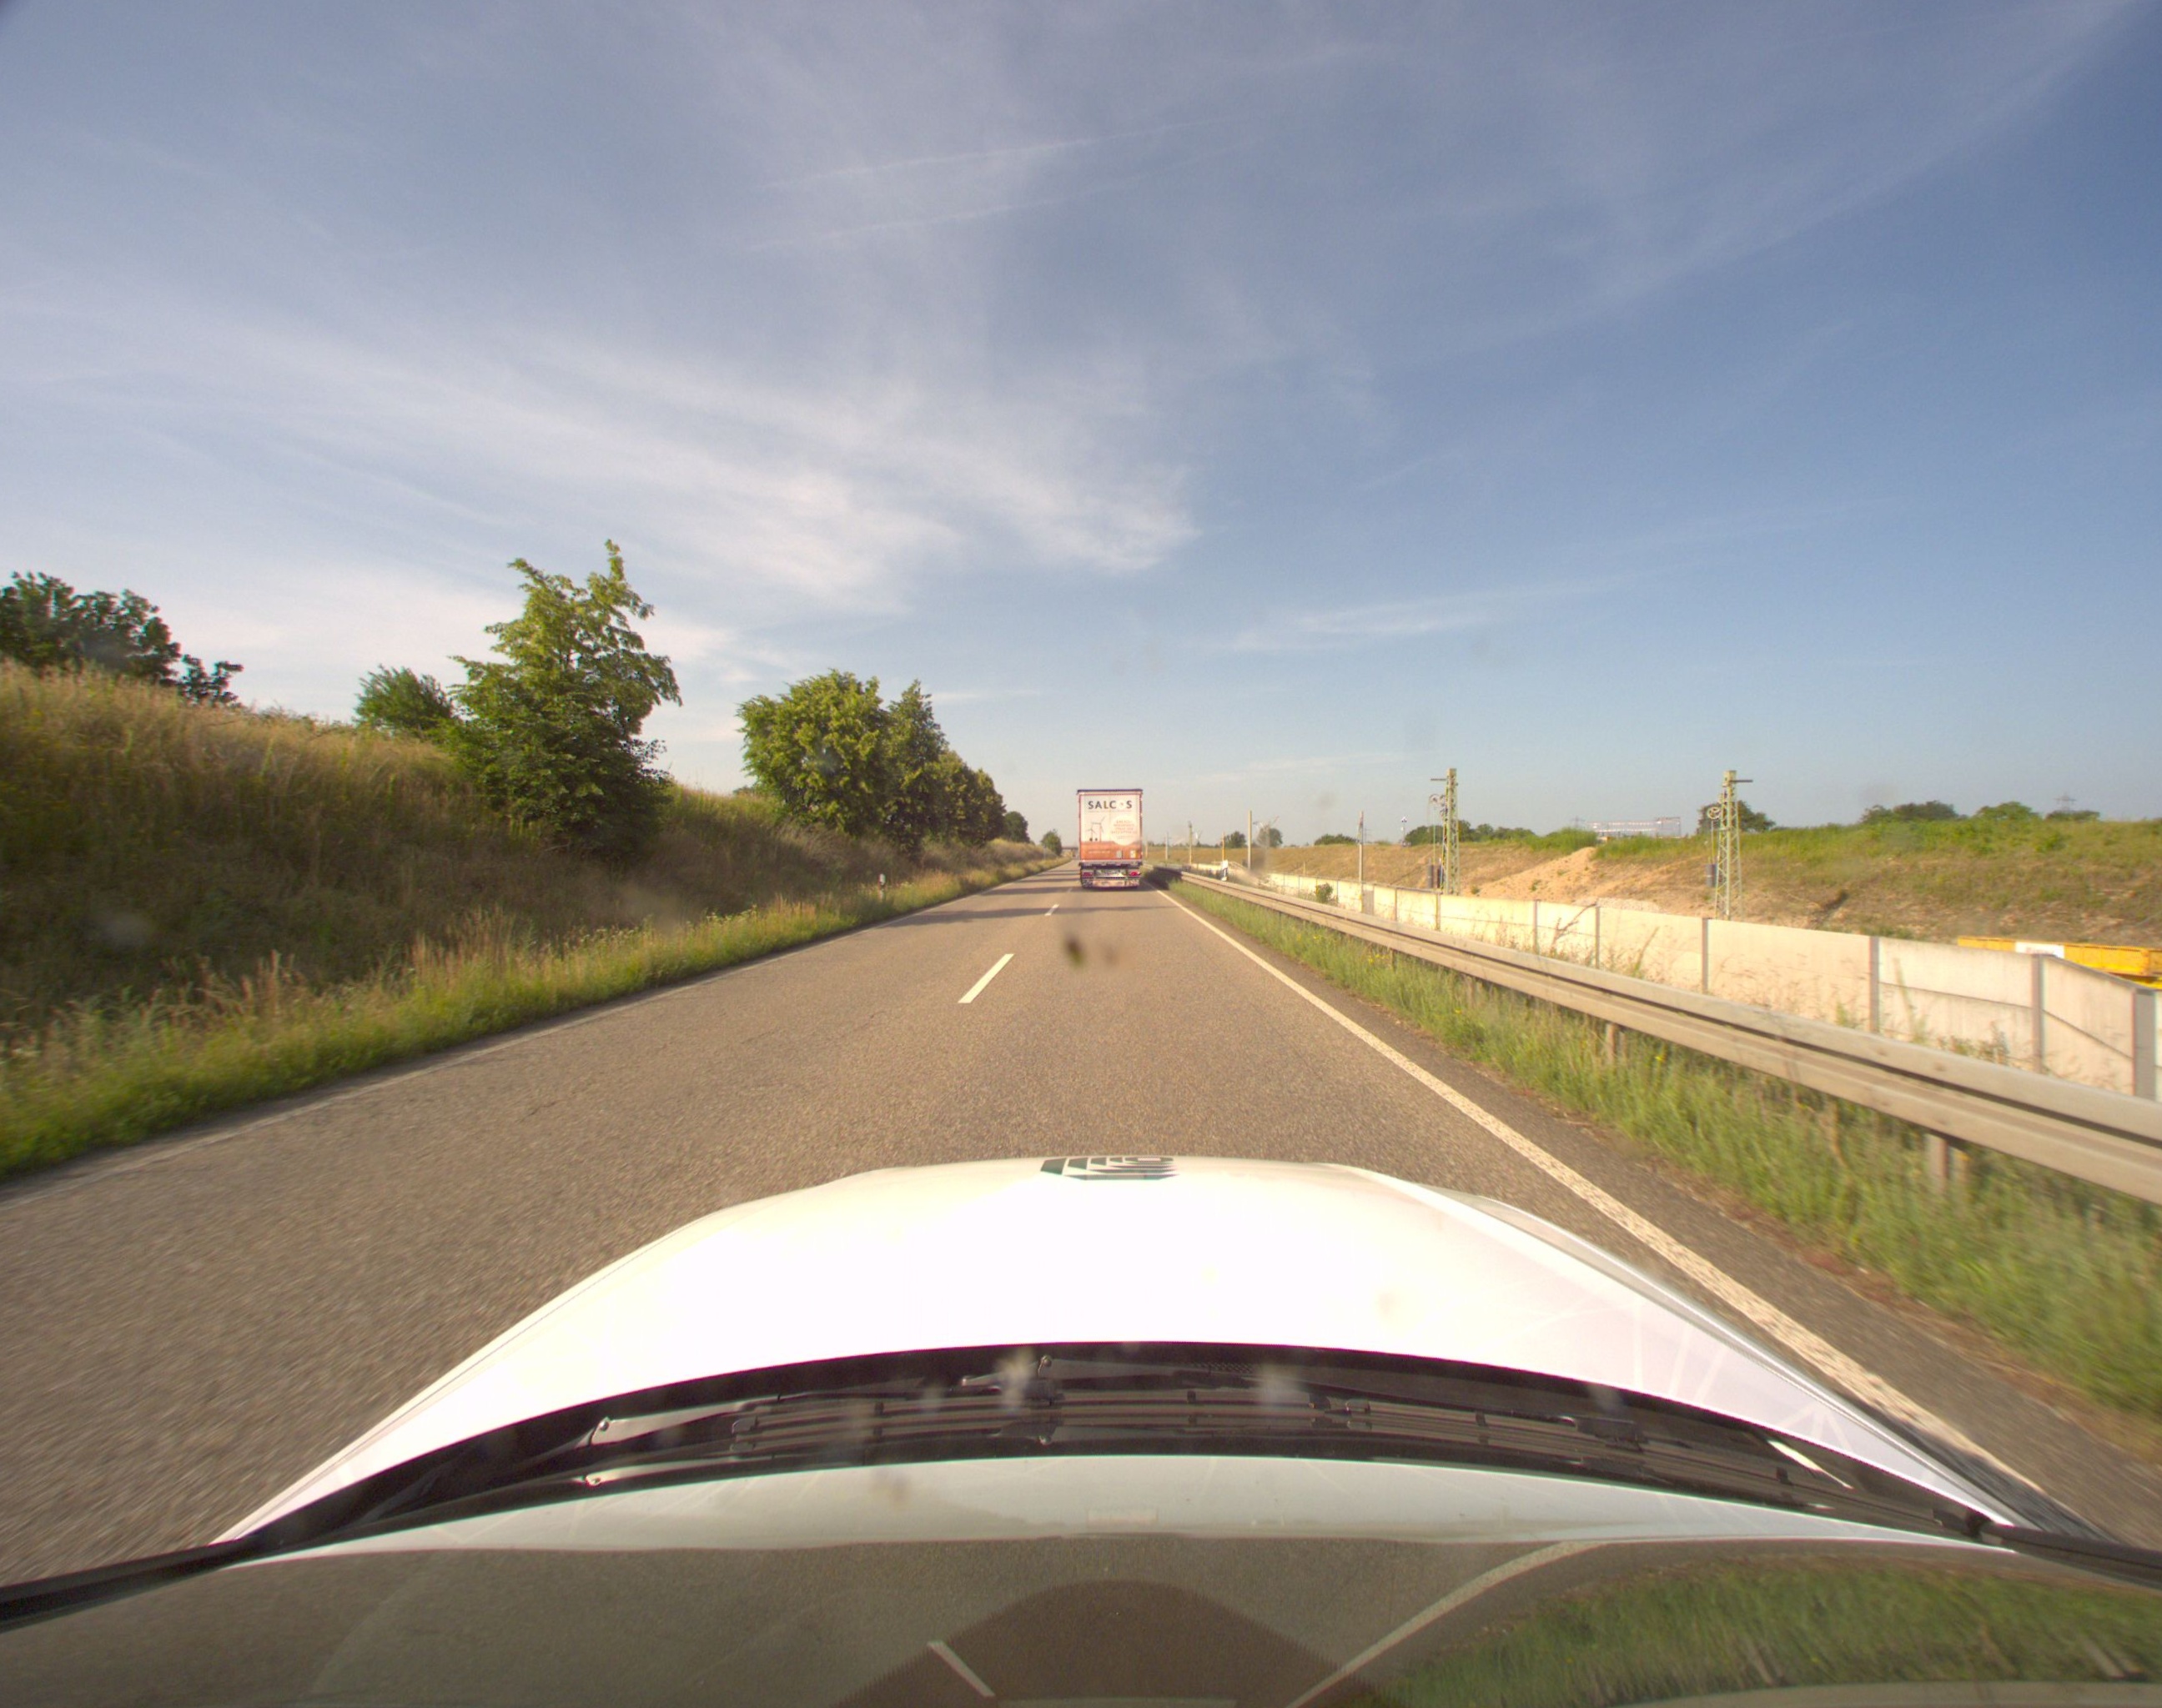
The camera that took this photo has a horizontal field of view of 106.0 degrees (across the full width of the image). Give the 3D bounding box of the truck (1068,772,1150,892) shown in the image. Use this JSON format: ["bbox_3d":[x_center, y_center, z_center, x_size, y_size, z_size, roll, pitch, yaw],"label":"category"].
[{"bbox_3d":[1.322,-0.878,36.167,3.140,4.688,8.448,-1,0,3],"label":"truck"}]
